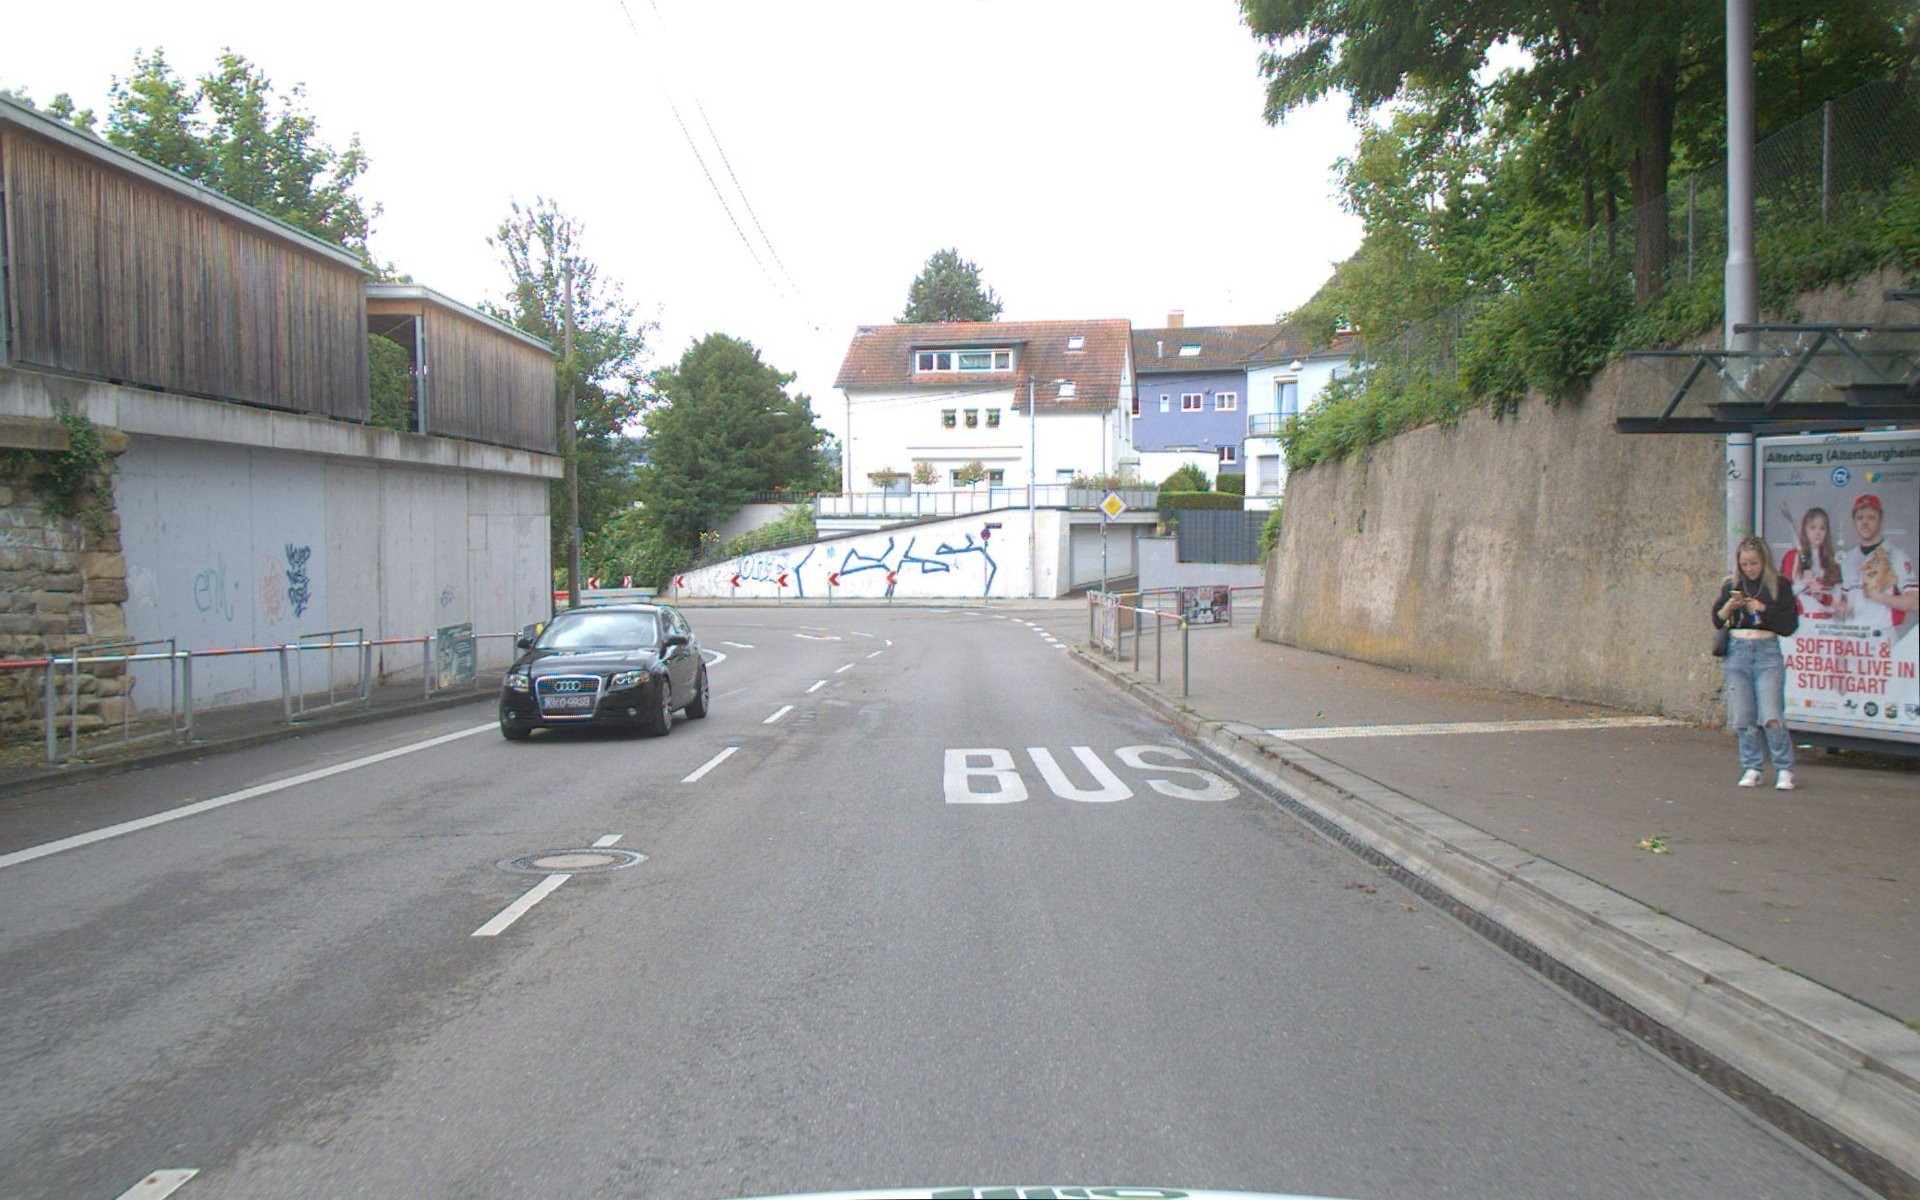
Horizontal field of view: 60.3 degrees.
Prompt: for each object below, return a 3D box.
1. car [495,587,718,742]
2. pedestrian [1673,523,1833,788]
[{"bbox_3d":[-3.925,0.663,19.002,1.699,1.559,4.000,-1,0,0],"label":"car"},{"bbox_3d":[5.096,0.332,10.618,0.724,1.615,0.769,-1,1,40],"label":"pedestrian"}]
